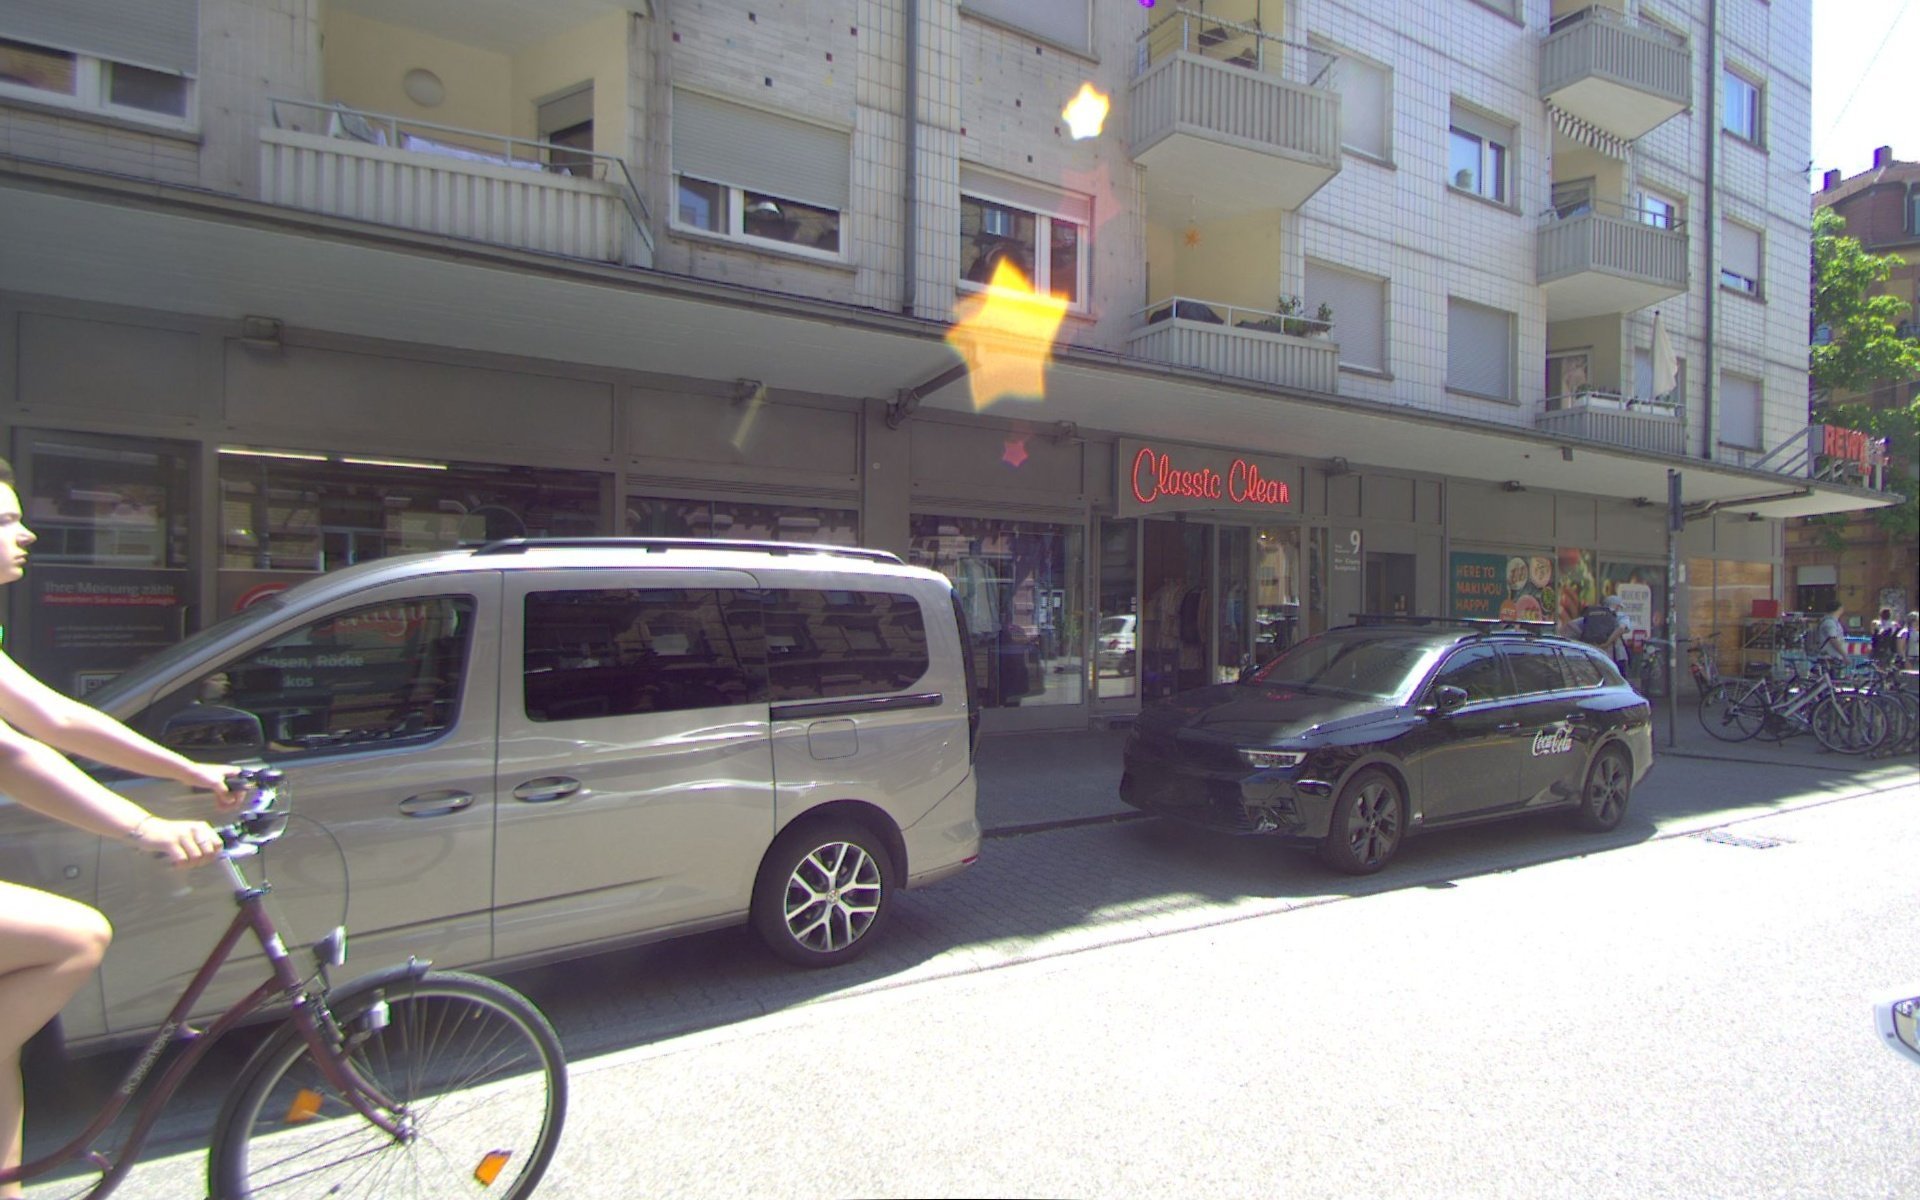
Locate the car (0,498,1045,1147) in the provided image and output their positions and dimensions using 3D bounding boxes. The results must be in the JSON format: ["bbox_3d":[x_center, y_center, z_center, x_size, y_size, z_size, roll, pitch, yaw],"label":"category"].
[{"bbox_3d":[-2.021,0.635,4.343,4.648,1.835,1.778,1,1,-33],"label":"car"}]

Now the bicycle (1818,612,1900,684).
[{"bbox_3d":[16.429,0.857,18.349,1.988,1.263,0.532,1,-1,-30],"label":"bicycle"}]

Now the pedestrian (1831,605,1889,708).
[{"bbox_3d":[16.410,1.010,18.309,0.927,1.821,0.527,1,-1,-30],"label":"pedestrian"}]

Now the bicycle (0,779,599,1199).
[{"bbox_3d":[-1.745,1.010,1.906,1.917,1.106,0.600,1,-1,-31],"label":"bicycle"}]

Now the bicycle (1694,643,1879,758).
[{"bbox_3d":[9.750,1.152,11.911,0.521,1.154,1.574,1,2,-33],"label":"bicycle"}]

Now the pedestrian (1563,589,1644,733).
[{"bbox_3d":[8.092,0.748,12.636,0.650,1.749,0.628,1,0,-29],"label":"pedestrian"}]

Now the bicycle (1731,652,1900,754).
[{"bbox_3d":[10.396,1.221,12.253,0.394,1.044,1.484,1,2,-33],"label":"bicycle"}]

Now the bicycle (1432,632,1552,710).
[{"bbox_3d":[7.936,1.038,15.020,1.553,1.086,0.340,0,-1,44],"label":"bicycle"}]

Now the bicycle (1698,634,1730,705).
[{"bbox_3d":[12.766,1.156,16.992,0.317,1.101,1.425,1,1,41],"label":"bicycle"}]

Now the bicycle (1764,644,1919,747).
[{"bbox_3d":[11.374,1.195,12.949,0.332,1.132,1.510,1,2,-33],"label":"bicycle"}]

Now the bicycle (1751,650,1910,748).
[{"bbox_3d":[10.899,1.215,12.626,0.332,1.050,1.438,1,2,-33],"label":"bicycle"}]

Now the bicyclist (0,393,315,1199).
[{"bbox_3d":[-1.805,0.525,1.869,0.967,1.729,0.620,1,0,-30],"label":"bicyclist"}]

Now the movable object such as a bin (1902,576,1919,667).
[{"bbox_3d":[30.347,0.711,28.729,1.931,2.695,4.524,1,1,-28],"label":"movable object such as a bin"}]

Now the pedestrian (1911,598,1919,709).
[{"bbox_3d":[16.283,0.898,16.729,0.593,1.844,0.506,1,0,-32],"label":"pedestrian"}]

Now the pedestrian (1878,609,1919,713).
[{"bbox_3d":[15.313,0.972,16.272,0.593,1.654,0.506,1,0,-32],"label":"pedestrian"}]

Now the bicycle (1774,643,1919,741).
[{"bbox_3d":[11.999,1.195,13.289,0.572,1.138,1.786,1,1,-35],"label":"bicycle"}]

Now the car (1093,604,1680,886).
[{"bbox_3d":[3.260,0.844,7.425,4.410,1.545,1.662,1,1,-30],"label":"car"}]

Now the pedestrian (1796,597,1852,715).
[{"bbox_3d":[13.448,0.858,15.634,0.593,1.794,0.506,1,0,-32],"label":"pedestrian"}]
